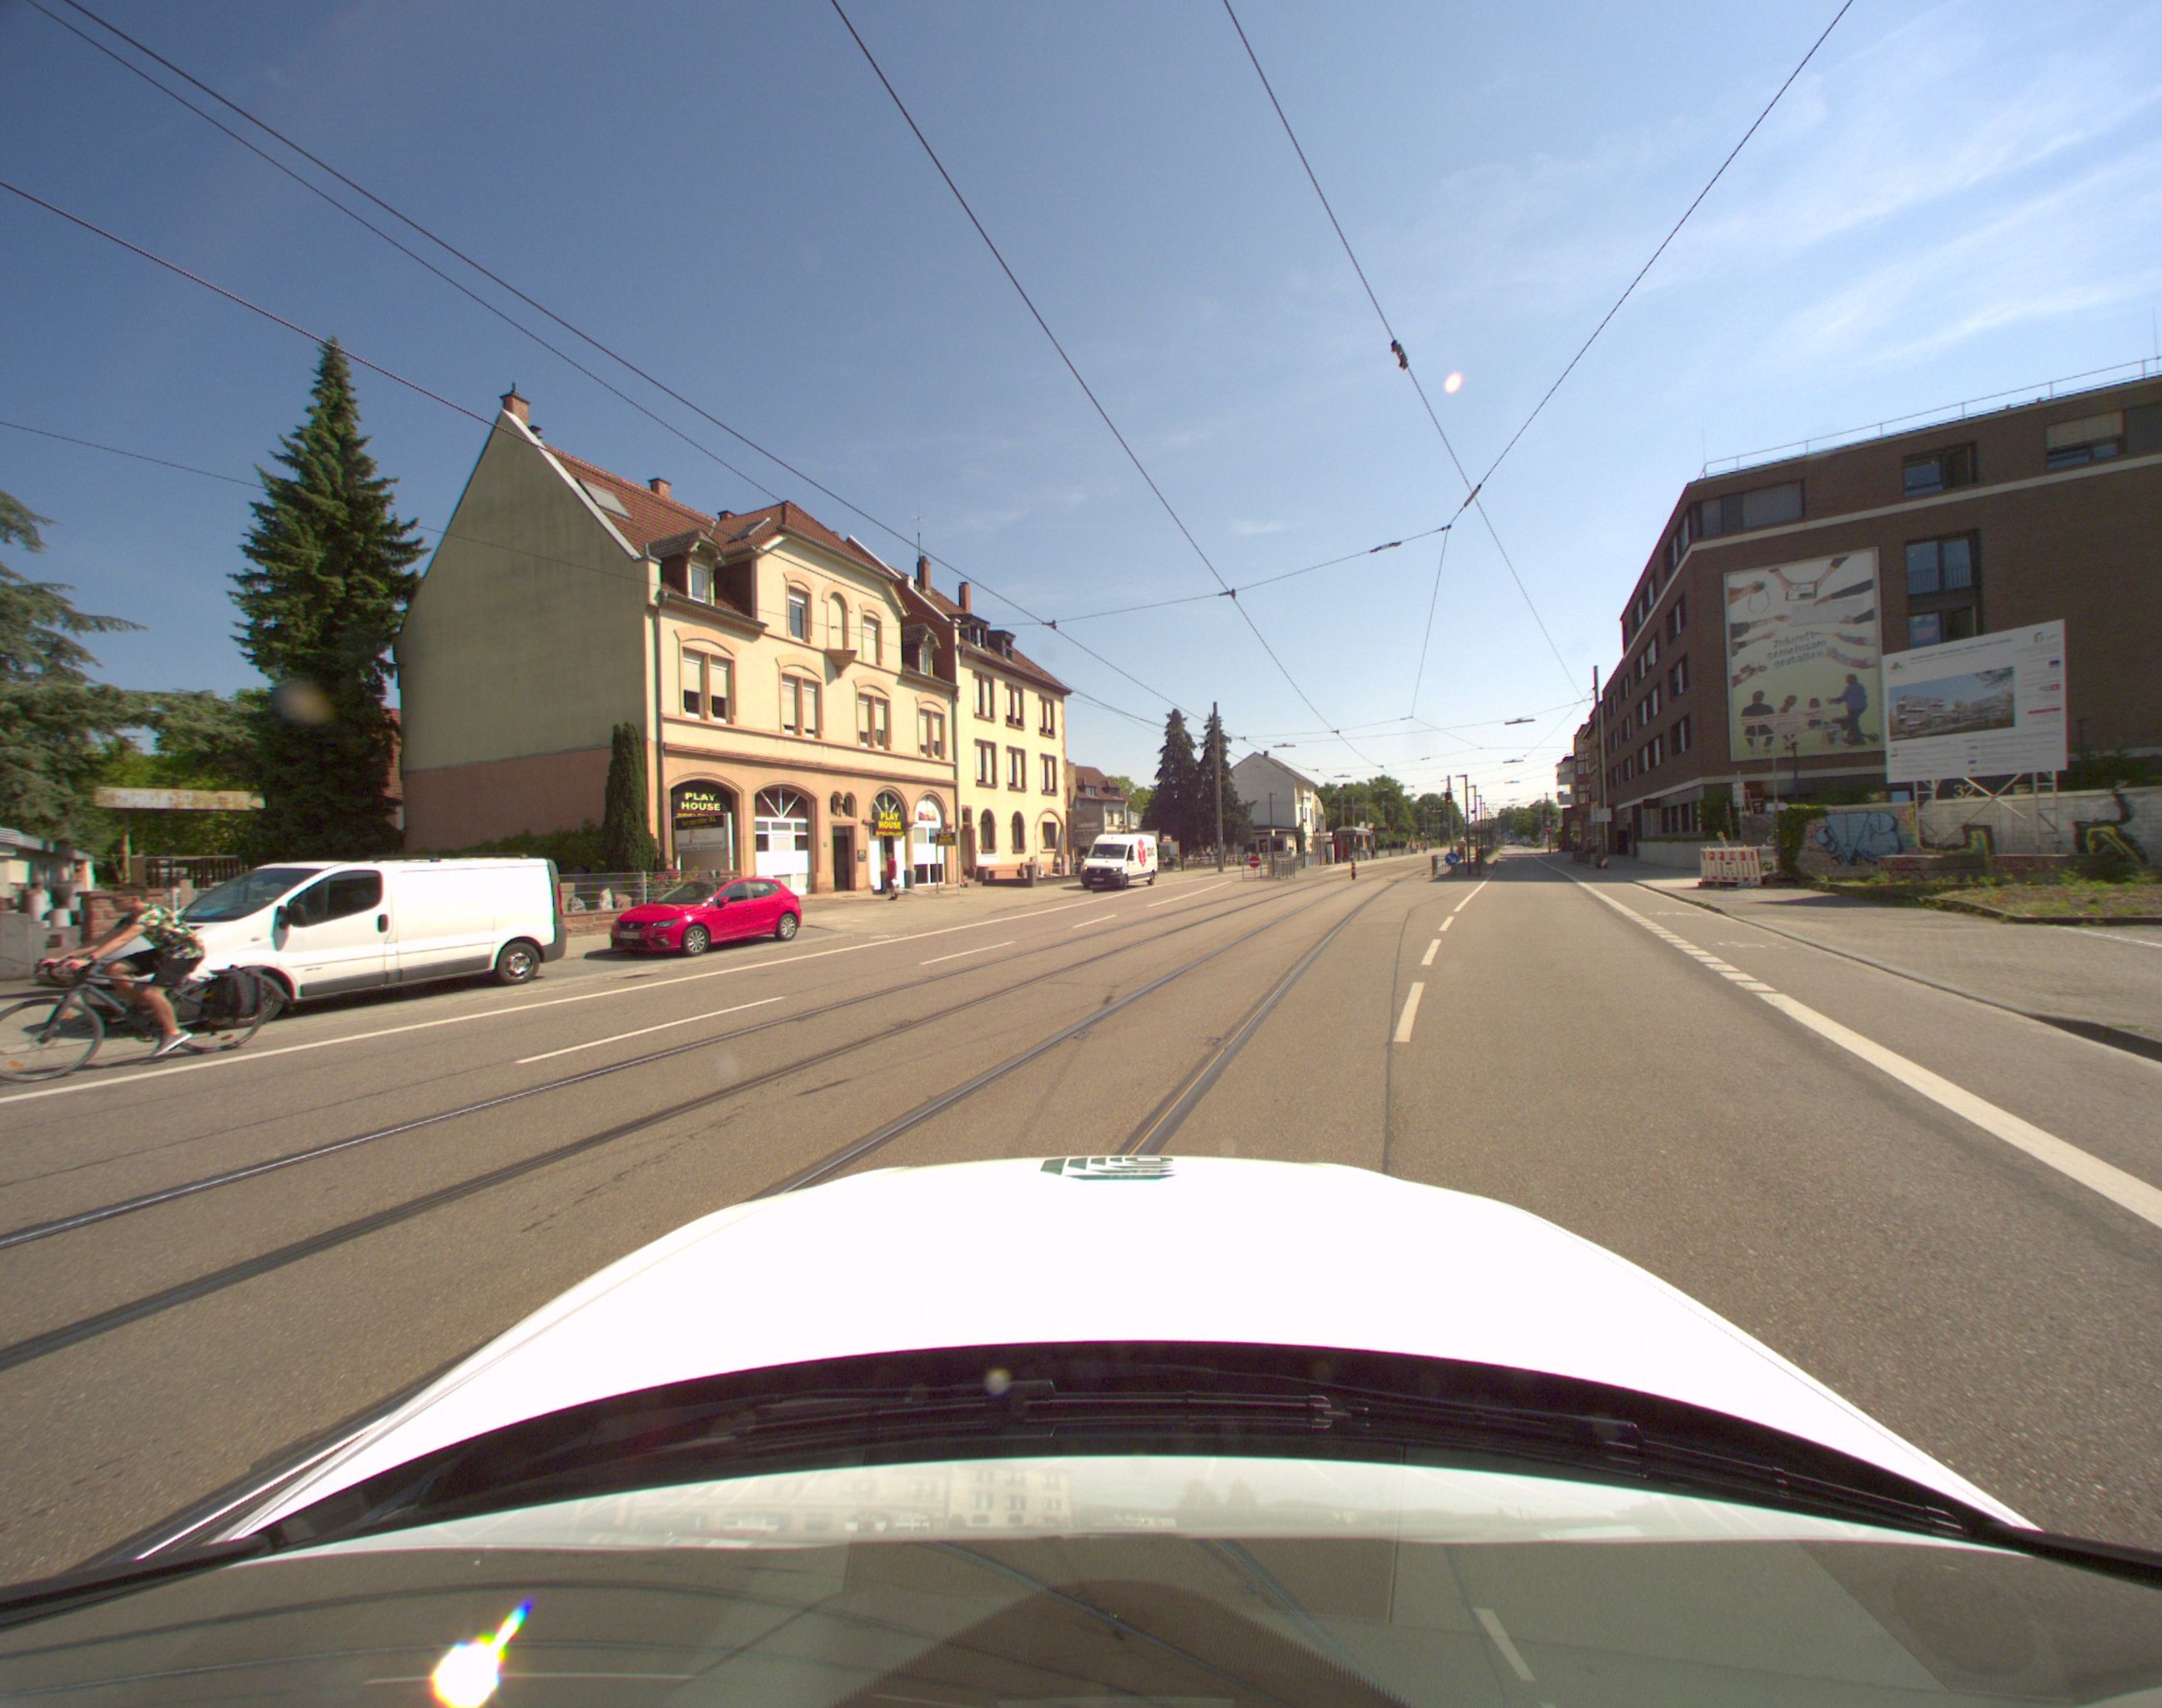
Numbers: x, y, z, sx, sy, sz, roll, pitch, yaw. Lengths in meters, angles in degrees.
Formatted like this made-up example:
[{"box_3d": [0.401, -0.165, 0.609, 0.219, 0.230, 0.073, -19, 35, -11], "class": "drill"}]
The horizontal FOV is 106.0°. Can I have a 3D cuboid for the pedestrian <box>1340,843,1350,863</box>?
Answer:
[{"box_3d": [21.787, -0.077, 67.192, 0.699, 1.690, 0.418, -2, 0, 20], "class": "pedestrian"}]

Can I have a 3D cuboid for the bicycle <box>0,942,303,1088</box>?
[{"box_3d": [-8.757, 1.426, 7.524, 0.603, 0.984, 2.177, -2, 0, 29], "class": "bicycle"}]

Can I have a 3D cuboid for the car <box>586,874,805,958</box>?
[{"box_3d": [-7.829, 1.208, 16.993, 1.705, 1.406, 4.022, -2, 0, 21], "class": "car"}]

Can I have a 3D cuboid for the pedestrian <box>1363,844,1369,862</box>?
[{"box_3d": [26.880, -0.107, 76.912, 0.412, 1.690, 0.710, -2, 0, 14], "class": "pedestrian"}]

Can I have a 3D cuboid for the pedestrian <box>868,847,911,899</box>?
[{"box_3d": [-6.855, 0.671, 29.178, 0.933, 1.815, 1.137, -2, 0, 35], "class": "pedestrian"}]

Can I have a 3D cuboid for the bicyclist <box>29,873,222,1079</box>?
[{"box_3d": [-8.822, 1.062, 7.546, 0.709, 1.724, 0.994, -3, -1, 28], "class": "bicyclist"}]

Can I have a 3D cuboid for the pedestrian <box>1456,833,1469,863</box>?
[{"box_3d": [22.449, -0.342, 47.932, 0.551, 1.760, 0.798, -3, 0, 22], "class": "pedestrian"}]

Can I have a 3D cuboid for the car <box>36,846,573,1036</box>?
[{"box_3d": [-10.137, 0.923, 11.297, 2.066, 2.013, 4.934, -2, 0, 22], "class": "car"}]

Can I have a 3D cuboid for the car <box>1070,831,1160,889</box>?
[{"box_3d": [1.783, 0.233, 39.161, 2.309, 2.535, 6.541, 0, 1, 22], "class": "car"}]
